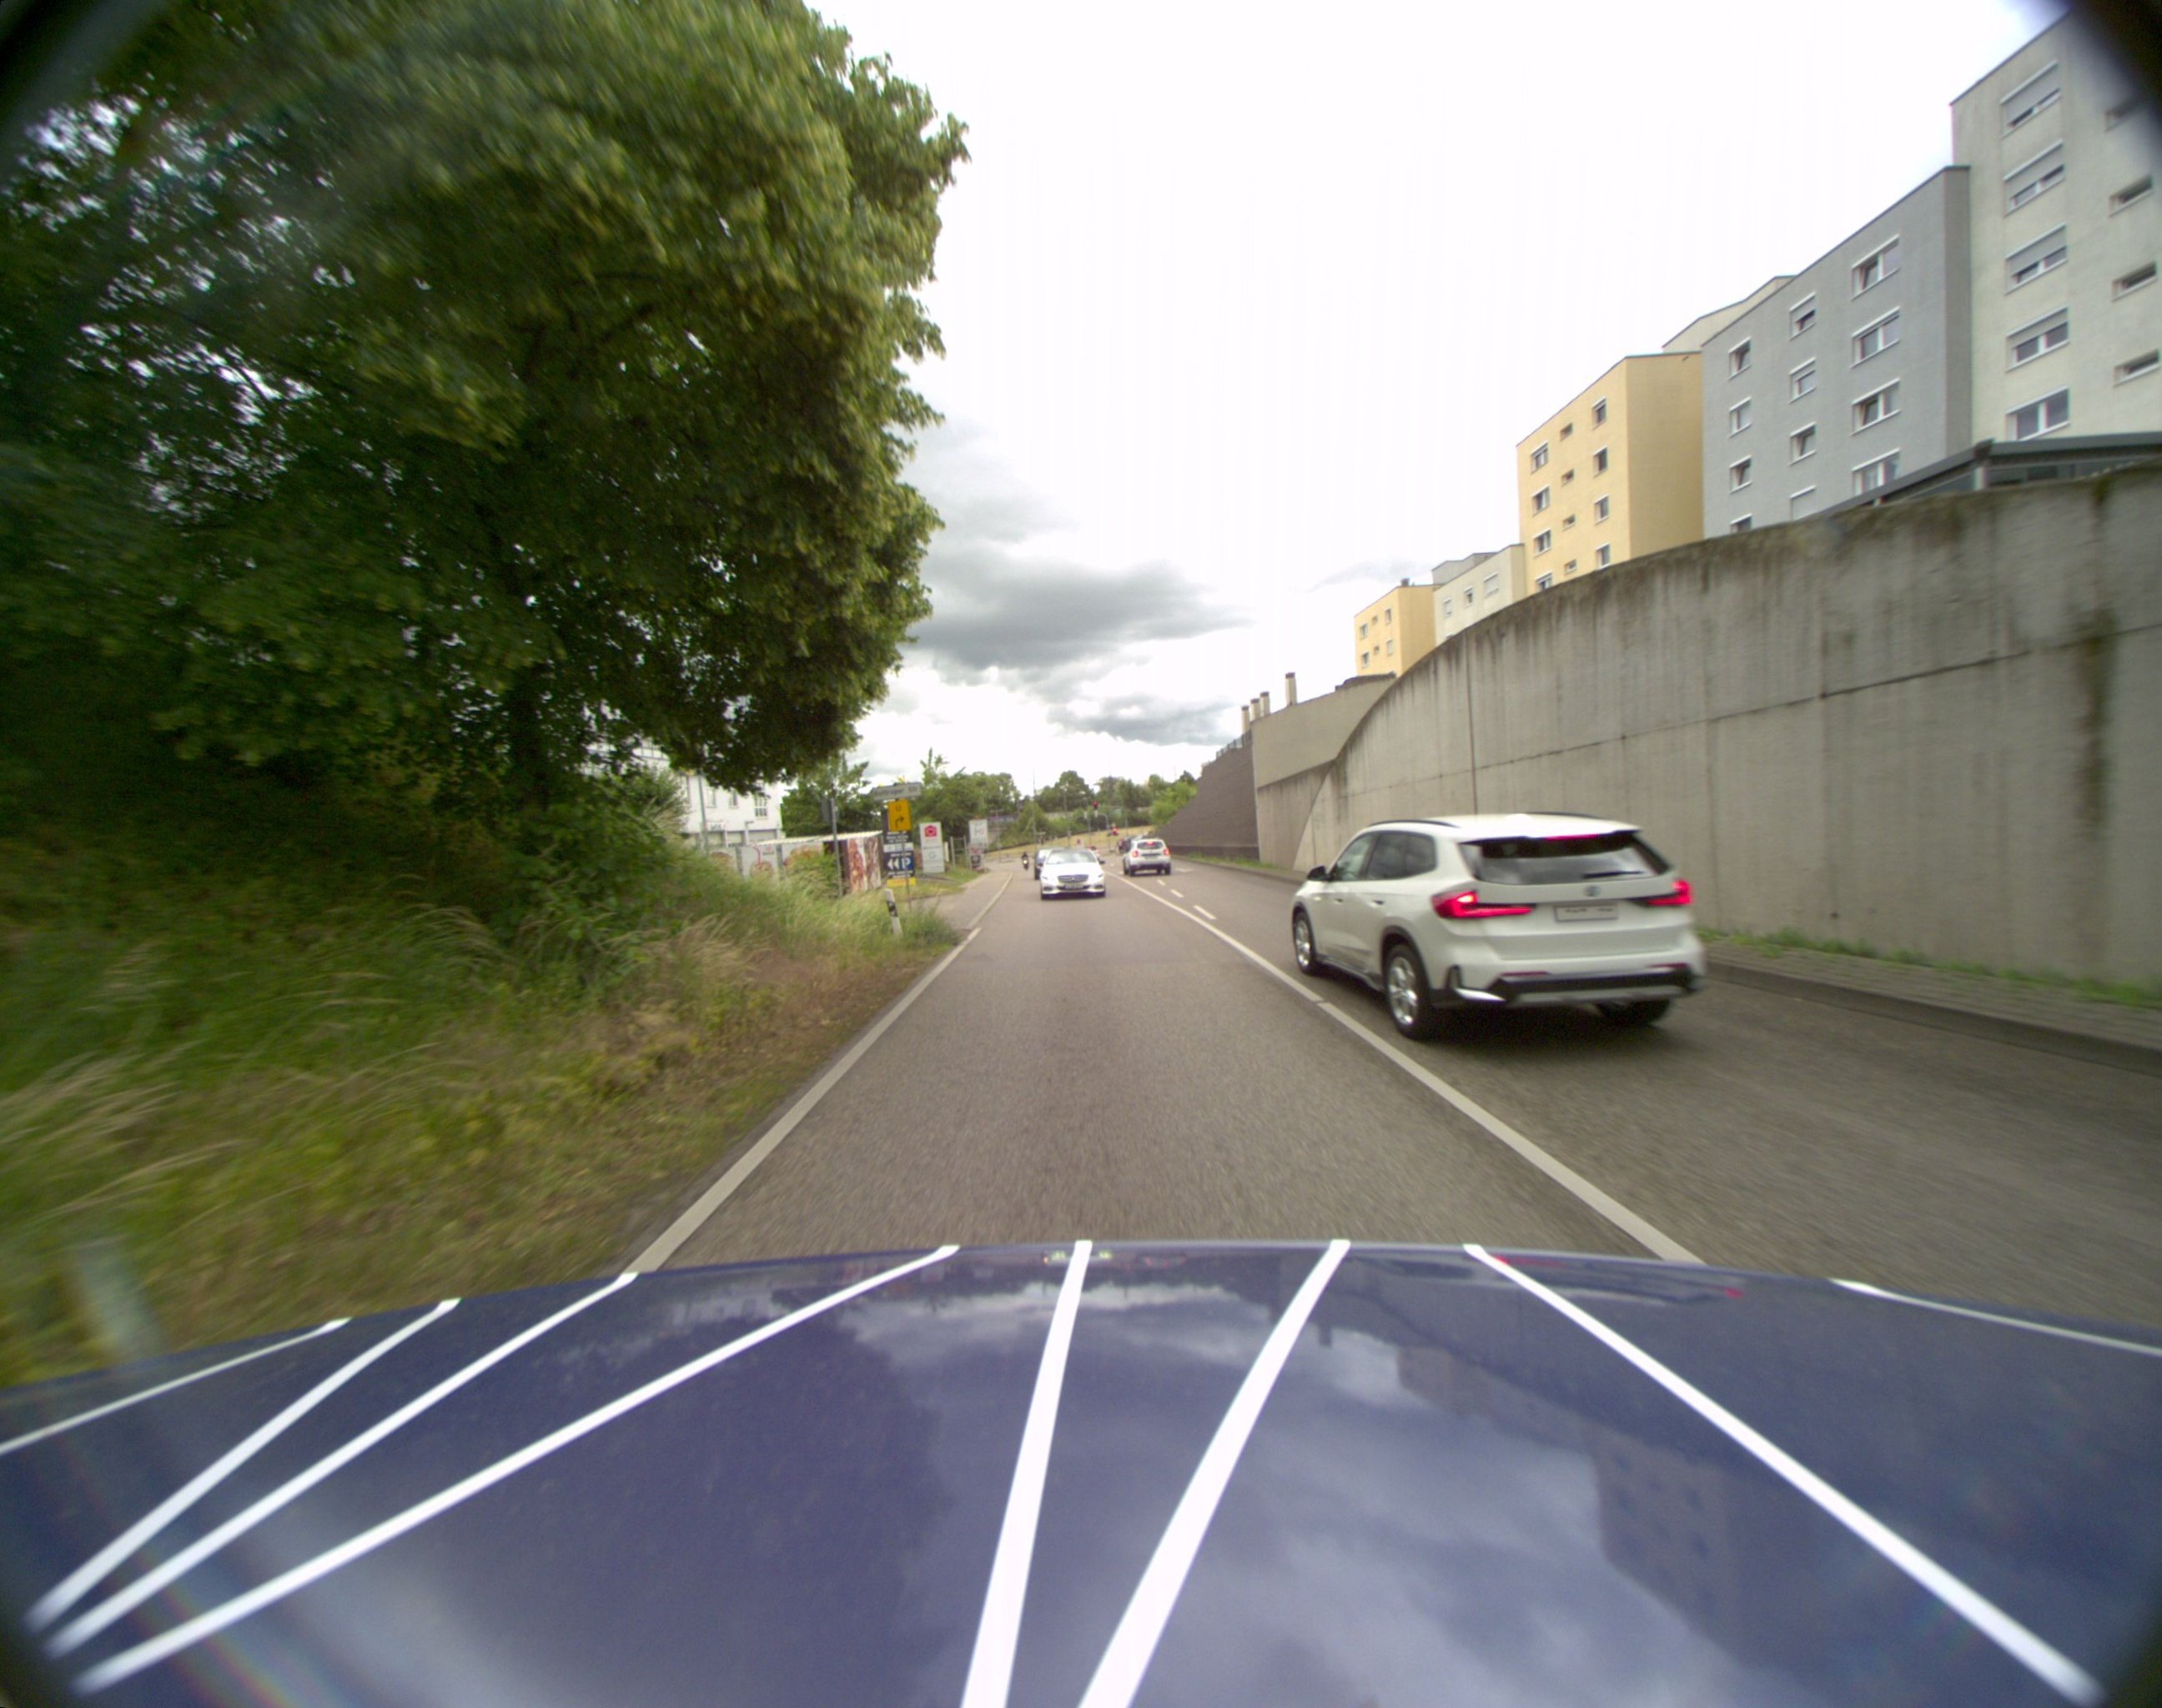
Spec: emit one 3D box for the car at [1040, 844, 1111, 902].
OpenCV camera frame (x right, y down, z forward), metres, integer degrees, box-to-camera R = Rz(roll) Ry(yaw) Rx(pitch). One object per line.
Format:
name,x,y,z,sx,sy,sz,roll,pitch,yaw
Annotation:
car,-0.228,0.510,23.192,1.905,1.471,4.092,-3,2,-2

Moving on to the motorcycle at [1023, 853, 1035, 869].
motorcycle,-4.363,0.557,63.792,0.883,1.098,2.358,-7,3,-3

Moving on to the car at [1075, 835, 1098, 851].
car,0.586,-1.220,82.424,1.760,1.515,4.089,-7,2,-8

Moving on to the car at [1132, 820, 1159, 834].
car,10.582,-4.383,124.373,4.268,1.719,1.755,-9,4,-40

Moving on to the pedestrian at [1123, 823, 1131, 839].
pedestrian,5.492,-2.709,90.903,0.624,1.818,0.664,-8,4,-20

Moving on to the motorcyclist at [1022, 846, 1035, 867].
motorcyclist,-4.401,0.200,63.744,0.883,1.596,1.243,-7,3,-4

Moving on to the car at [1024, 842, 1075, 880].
car,-1.584,0.287,37.189,1.760,1.532,3.995,-7,3,-11

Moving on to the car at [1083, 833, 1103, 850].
car,1.185,-1.283,76.152,1.548,1.515,2.912,-7,2,-5

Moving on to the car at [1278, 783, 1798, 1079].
car,3.253,0.363,6.647,1.895,1.623,4.424,-4,3,1

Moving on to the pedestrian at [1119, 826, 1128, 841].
pedestrian,5.150,-2.496,91.532,0.664,1.670,0.625,-5,4,29

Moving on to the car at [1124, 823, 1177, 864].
car,3.064,-0.500,34.428,1.866,1.623,4.206,-4,2,-1
